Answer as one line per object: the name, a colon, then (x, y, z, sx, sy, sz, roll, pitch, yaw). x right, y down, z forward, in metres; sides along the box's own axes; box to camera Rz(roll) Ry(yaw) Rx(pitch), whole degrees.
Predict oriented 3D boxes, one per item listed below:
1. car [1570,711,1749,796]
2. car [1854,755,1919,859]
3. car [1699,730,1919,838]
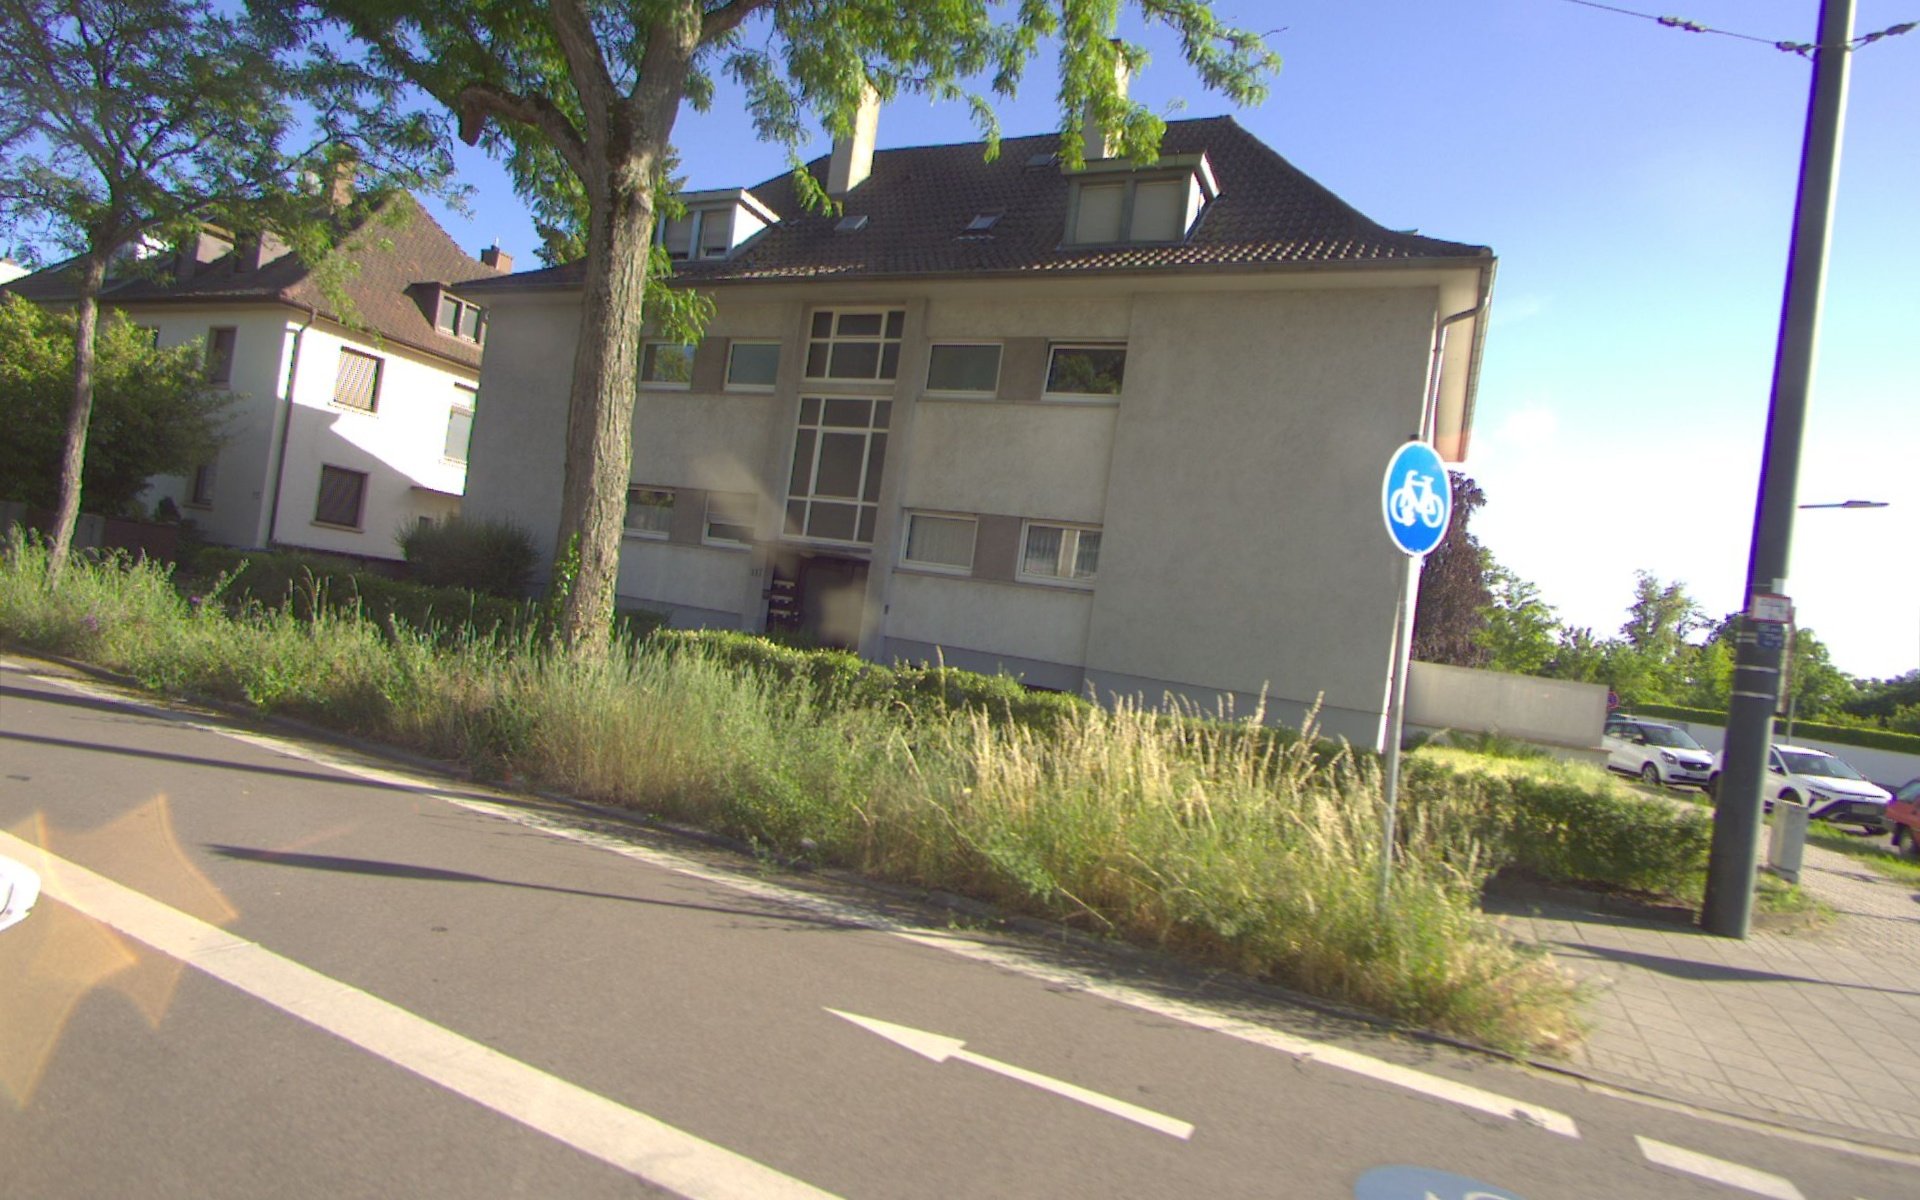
car: (18.328, 3.984, 26.615, 1.963, 1.590, 4.007, 9, -3, 5)
car: (16.170, 3.457, 15.584, 1.945, 1.525, 4.180, 8, -2, 21)
car: (18.147, 3.838, 21.503, 1.944, 1.525, 4.182, 8, -2, 9)
